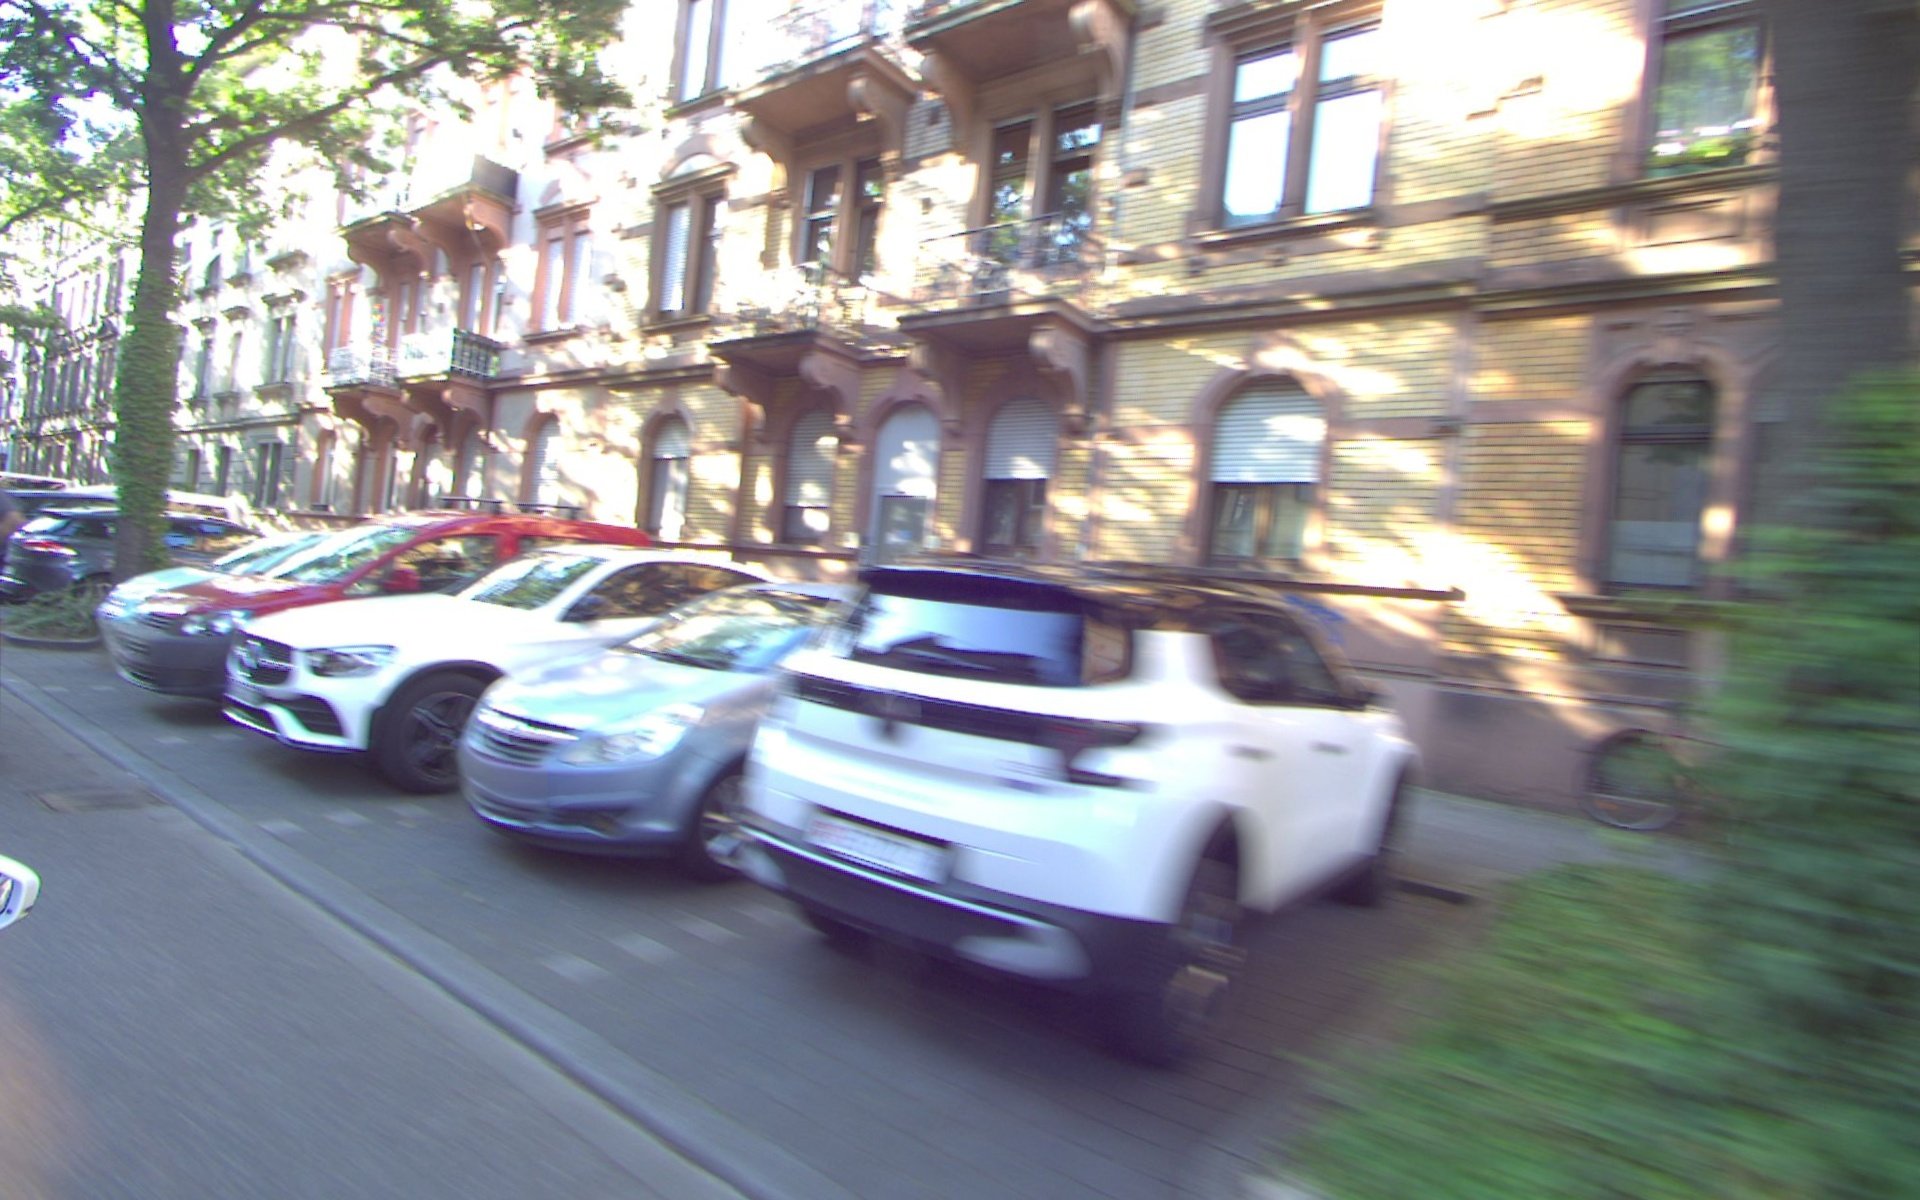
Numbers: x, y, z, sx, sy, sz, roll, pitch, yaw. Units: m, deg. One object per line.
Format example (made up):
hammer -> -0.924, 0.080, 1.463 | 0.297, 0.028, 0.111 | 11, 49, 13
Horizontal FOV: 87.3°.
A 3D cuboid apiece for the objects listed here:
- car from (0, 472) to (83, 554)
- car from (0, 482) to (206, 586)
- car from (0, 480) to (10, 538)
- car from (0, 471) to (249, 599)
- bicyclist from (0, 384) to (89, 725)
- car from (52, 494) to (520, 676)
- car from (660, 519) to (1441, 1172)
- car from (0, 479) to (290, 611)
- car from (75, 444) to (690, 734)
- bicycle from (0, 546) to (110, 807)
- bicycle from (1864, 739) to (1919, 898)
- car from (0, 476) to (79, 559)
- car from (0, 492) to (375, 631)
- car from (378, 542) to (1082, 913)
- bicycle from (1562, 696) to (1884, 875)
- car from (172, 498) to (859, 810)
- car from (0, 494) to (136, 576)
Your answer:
car -> -25.938, -2.438, 25.678 | 1.807, 1.950, 5.052 | 7, 1, 37
car -> -16.848, -1.261, 18.610 | 1.804, 1.631, 4.224 | 6, 1, 30
car -> -31.710, -3.017, 30.535 | 1.690, 1.820, 3.850 | 7, 1, 34
car -> -14.794, -1.104, 16.915 | 1.807, 1.799, 4.218 | 7, 1, 36
bicyclist -> -5.713, -0.300, 5.565 | 1.189, 1.811, 0.995 | 6, 0, 37
car -> -6.925, -0.122, 10.696 | 1.819, 1.474, 3.659 | 7, 2, 31
car -> 0.847, 0.703, 4.753 | 1.777, 1.648, 4.008 | 6, 1, 36
car -> -12.805, -0.804, 15.249 | 1.708, 1.627, 4.007 | 6, 1, 37
car -> -4.888, -0.066, 9.177 | 1.821, 1.950, 4.441 | 8, 3, 35
bicycle -> -5.774, 0.278, 5.545 | 2.879, 1.172, 0.996 | 6, -1, 37
bicycle -> 7.096, 1.527, 6.449 | 1.833, 0.976, 0.405 | 5, 3, 20
car -> -23.305, -2.056, 23.094 | 1.800, 1.818, 4.233 | 6, 1, 18
car -> -10.592, -0.460, 13.818 | 1.708, 1.486, 4.007 | 6, 1, 37
car -> -1.061, 0.573, 6.242 | 1.767, 1.453, 4.006 | 6, 1, 37
bicycle -> 5.737, 1.354, 7.688 | 1.840, 0.976, 0.404 | 6, 3, 38
car -> -2.956, 0.323, 7.589 | 1.821, 1.577, 4.339 | 8, 2, 36
car -> -19.034, -1.389, 19.600 | 1.805, 1.421, 4.222 | 6, 1, 33
